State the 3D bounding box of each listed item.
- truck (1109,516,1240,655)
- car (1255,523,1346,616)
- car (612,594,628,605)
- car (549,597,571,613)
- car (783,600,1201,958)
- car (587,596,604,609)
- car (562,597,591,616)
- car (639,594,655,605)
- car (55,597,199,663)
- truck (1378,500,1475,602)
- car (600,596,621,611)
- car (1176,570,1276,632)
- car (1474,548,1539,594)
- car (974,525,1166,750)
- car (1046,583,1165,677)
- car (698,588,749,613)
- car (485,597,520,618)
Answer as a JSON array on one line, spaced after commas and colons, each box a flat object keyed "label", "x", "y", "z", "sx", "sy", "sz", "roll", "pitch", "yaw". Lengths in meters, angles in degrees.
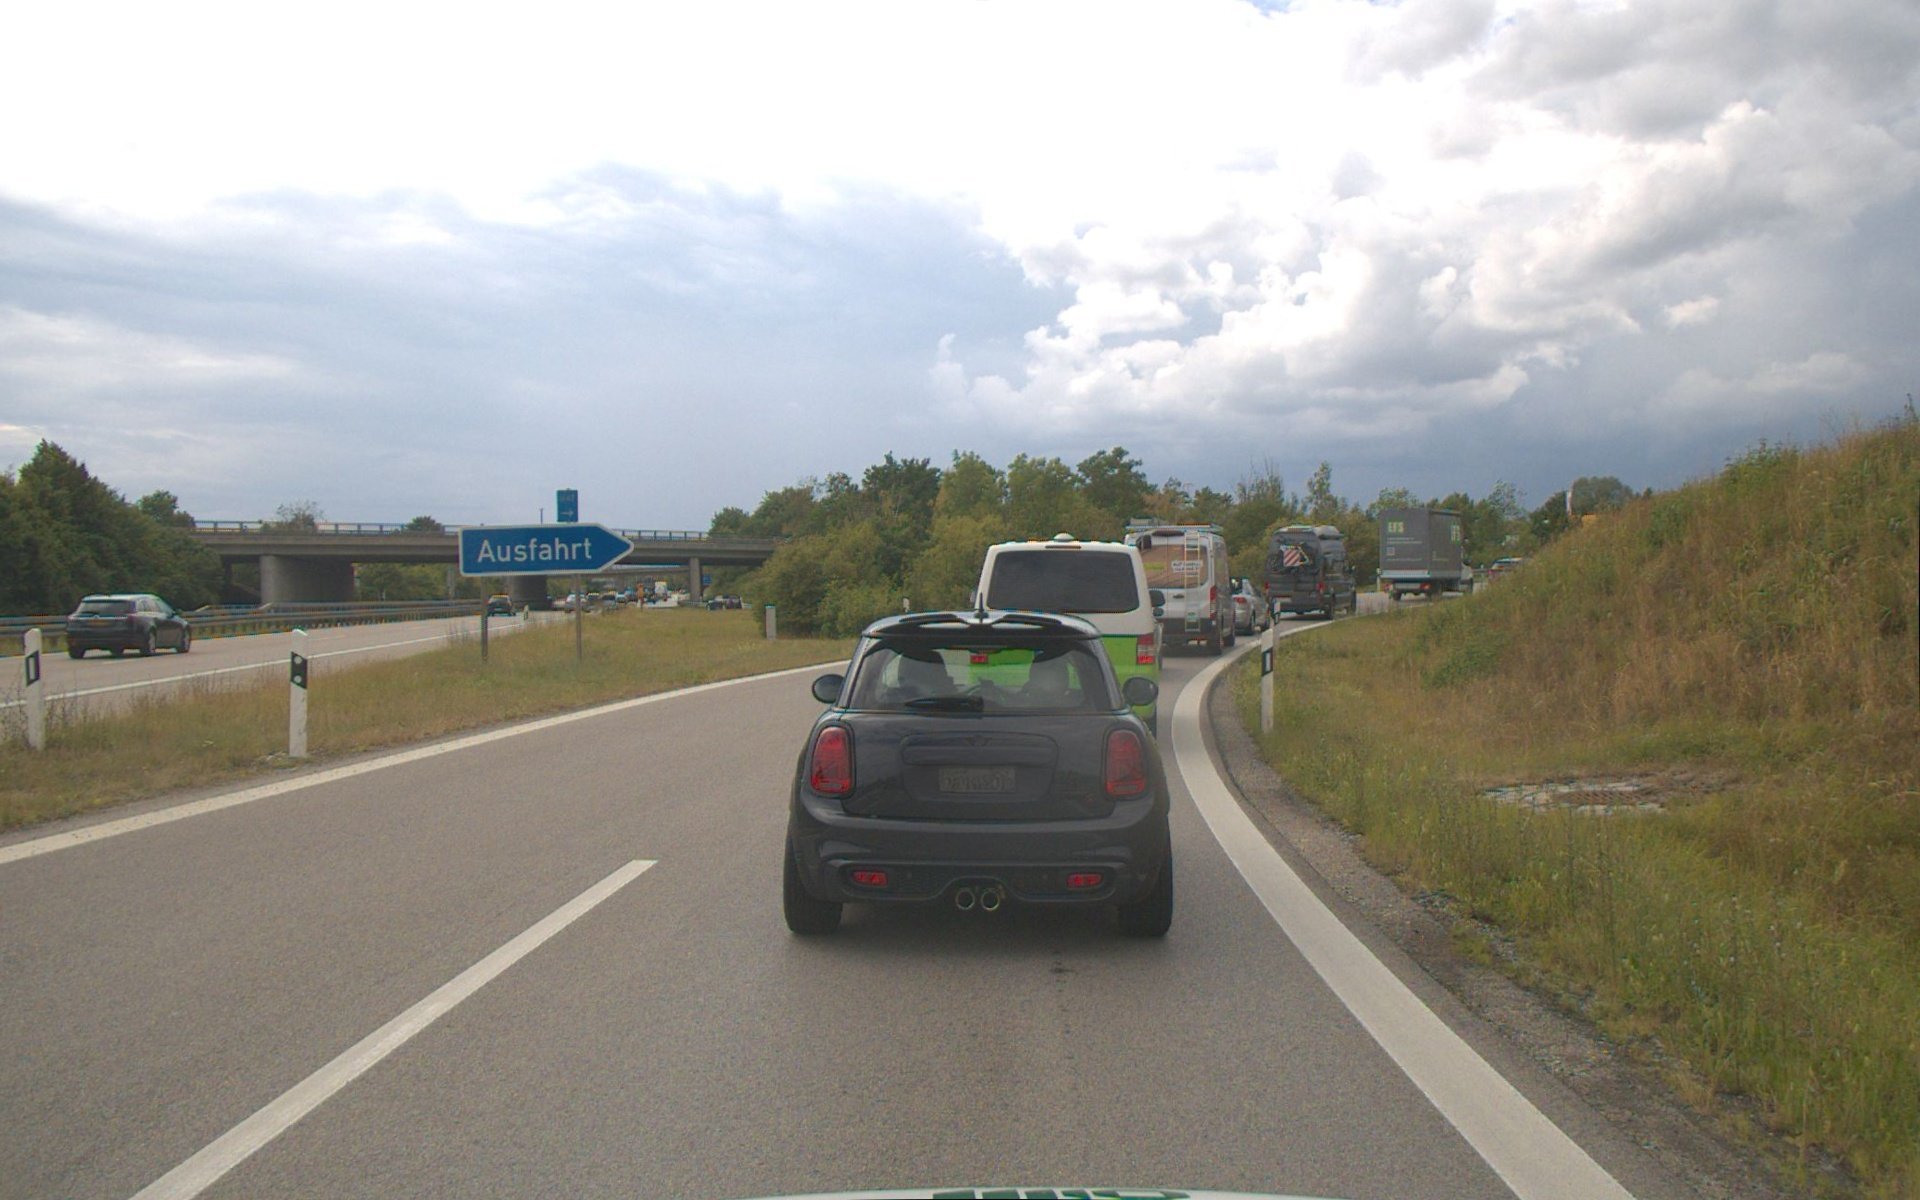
[{"label": "truck", "x": 4.628, "y": -0.327, "z": 35.013, "sx": 2.132, "sy": 2.705, "sz": 5.113, "roll": -1, "pitch": 1, "yaw": 14}, {"label": "car", "x": 10.921, "y": -0.950, "z": 52.867, "sx": 2.062, "sy": 2.845, "sz": 3.999, "roll": 1, "pitch": 1, "yaw": 23}, {"label": "car", "x": -52.819, "y": -0.025, "z": 257.035, "sx": 2.119, "sy": 1.700, "sz": 4.300, "roll": -1, "pitch": 0, "yaw": -7}, {"label": "car", "x": -37.051, "y": 0.425, "z": 153.256, "sx": 1.747, "sy": 1.423, "sz": 4.296, "roll": -1, "pitch": 0, "yaw": -10}, {"label": "car", "x": 0.115, "y": 0.728, "z": 8.586, "sx": 1.692, "sy": 1.438, "sz": 3.725, "roll": 0, "pitch": 0, "yaw": -1}, {"label": "car", "x": -42.674, "y": 0.298, "z": 193.442, "sx": 1.748, "sy": 1.423, "sz": 4.295, "roll": -1, "pitch": 0, "yaw": -10}, {"label": "car", "x": -30.197, "y": 0.477, "z": 130.215, "sx": 1.746, "sy": 1.423, "sz": 4.543, "roll": -1, "pitch": 0, "yaw": -8}, {"label": "car", "x": -48.670, "y": -0.038, "z": 257.171, "sx": 2.056, "sy": 1.700, "sz": 4.300, "roll": -1, "pitch": 0, "yaw": -7}, {"label": "car", "x": -20.181, "y": 0.681, "z": 40.283, "sx": 1.690, "sy": 1.449, "sz": 4.788, "roll": -1, "pitch": 0, "yaw": -9}, {"label": "truck", "x": 19.470, "y": -1.967, "z": 68.825, "sx": 2.189, "sy": 3.975, "sz": 5.998, "roll": 0, "pitch": -1, "yaw": 33}, {"label": "car", "x": -35.673, "y": 0.345, "z": 168.919, "sx": 1.746, "sy": 1.423, "sz": 4.023, "roll": -1, "pitch": 0, "yaw": -7}, {"label": "car", "x": 7.076, "y": 0.013, "z": 43.714, "sx": 1.828, "sy": 1.536, "sz": 4.000, "roll": 0, "pitch": 0, "yaw": 21}, {"label": "car", "x": 25.921, "y": -1.334, "z": 78.417, "sx": 1.958, "sy": 2.049, "sz": 3.988, "roll": 0, "pitch": -1, "yaw": 33}, {"label": "car", "x": 1.231, "y": 0.329, "z": 17.185, "sx": 1.746, "sy": 2.049, "sz": 4.003, "roll": 0, "pitch": 0, "yaw": 6}, {"label": "car", "x": 2.446, "y": 0.449, "z": 27.133, "sx": 1.724, "sy": 1.423, "sz": 3.728, "roll": -1, "pitch": 0, "yaw": 8}, {"label": "car", "x": -19.434, "y": 0.050, "z": 135.795, "sx": 3.925, "sy": 2.049, "sz": 1.990, "roll": 0, "pitch": -1, "yaw": 40}, {"label": "car", "x": -32.347, "y": 0.527, "z": 117.029, "sx": 1.746, "sy": 1.423, "sz": 4.299, "roll": -1, "pitch": 0, "yaw": -8}]
